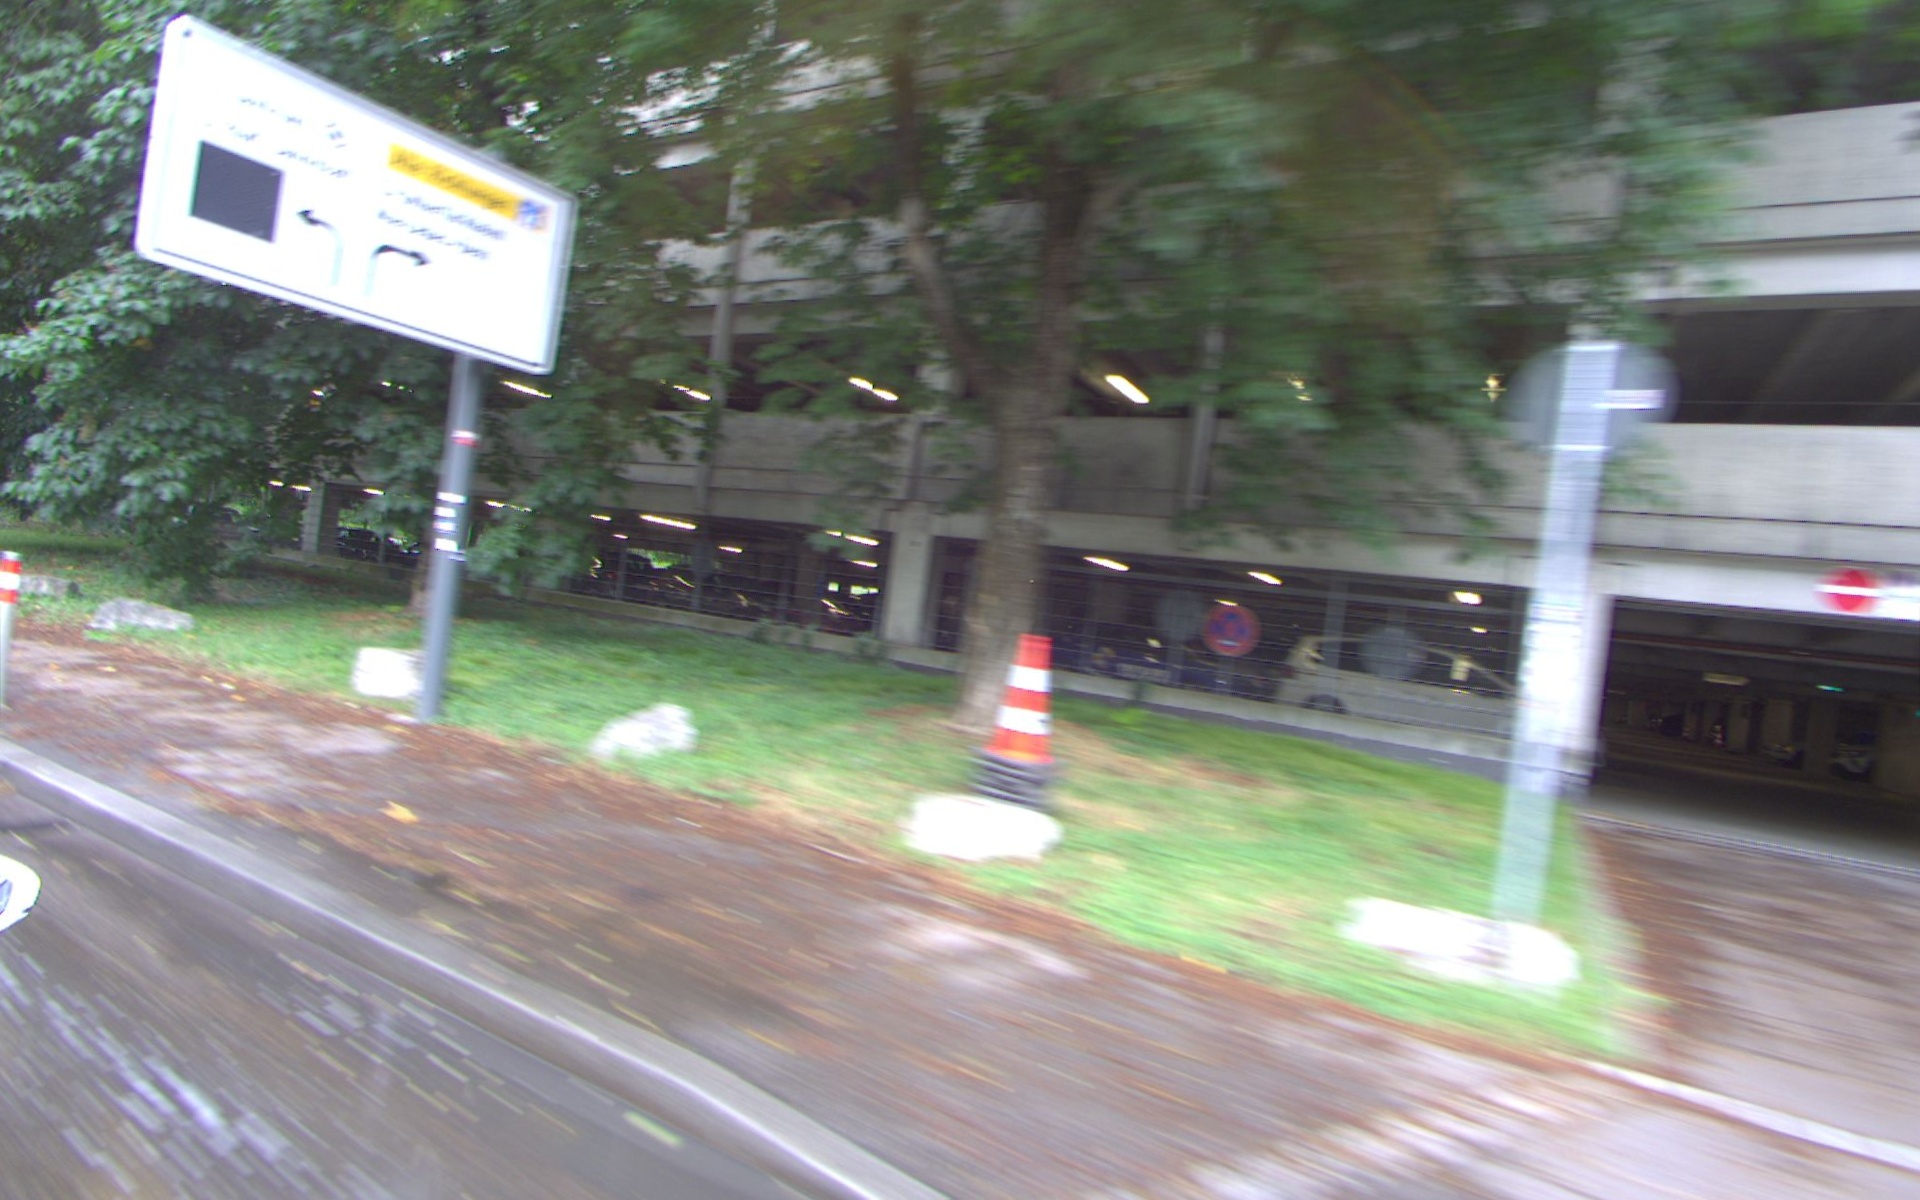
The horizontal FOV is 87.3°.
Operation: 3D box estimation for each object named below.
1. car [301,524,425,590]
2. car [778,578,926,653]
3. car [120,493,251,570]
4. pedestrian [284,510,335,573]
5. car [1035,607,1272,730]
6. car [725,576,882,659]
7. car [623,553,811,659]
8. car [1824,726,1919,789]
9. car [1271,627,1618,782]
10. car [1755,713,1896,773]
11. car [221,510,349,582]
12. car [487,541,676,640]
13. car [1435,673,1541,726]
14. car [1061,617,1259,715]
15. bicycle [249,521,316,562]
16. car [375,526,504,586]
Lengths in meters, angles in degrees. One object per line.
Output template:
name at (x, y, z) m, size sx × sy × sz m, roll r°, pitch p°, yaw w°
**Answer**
car at (-19.137, -1.380, 32.232) m, size 3.657 × 1.682 × 1.734 m, roll 6°, pitch -2°, yaw 30°
car at (-3.035, 0.424, 28.116) m, size 3.638 × 1.626 × 1.721 m, roll 6°, pitch -2°, yaw 29°
car at (-21.647, -1.922, 28.096) m, size 3.657 × 1.728 × 1.484 m, roll 6°, pitch -2°, yaw 30°
pedestrian at (-15.002, -1.347, 23.206) m, size 0.626 × 1.333 × 0.642 m, roll 6°, pitch -2°, yaw 29°
car at (3.510, 1.232, 18.388) m, size 3.792 × 1.728 × 1.589 m, roll 6°, pitch -2°, yaw 30°
car at (-4.119, 0.459, 26.444) m, size 3.638 × 1.699 × 1.721 m, roll 6°, pitch -2°, yaw 29°
car at (-5.863, 0.138, 24.227) m, size 3.933 × 2.037 × 1.998 m, roll 6°, pitch -2°, yaw 31°
car at (24.937, 4.215, 26.353) m, size 3.150 × 1.375 × 1.512 m, roll 6°, pitch -2°, yaw 29°
car at (7.497, 1.565, 15.865) m, size 4.589 × 1.728 × 1.589 m, roll 6°, pitch -2°, yaw 30°
car at (28.423, 4.672, 33.146) m, size 3.150 × 1.444 × 1.512 m, roll 6°, pitch -2°, yaw 29°
car at (-20.315, -1.640, 30.240) m, size 3.706 × 1.728 × 1.584 m, roll 6°, pitch -2°, yaw 30°
car at (-9.978, -0.267, 26.470) m, size 4.595 × 2.037 × 1.998 m, roll 6°, pitch -2°, yaw 30°
car at (18.680, 3.511, 35.690) m, size 3.150 × 1.444 × 1.512 m, roll 6°, pitch -2°, yaw 29°
car at (4.224, 1.389, 21.302) m, size 3.638 × 1.563 × 1.721 m, roll 6°, pitch -2°, yaw 29°
bicycle at (-15.383, -1.331, 22.840) m, size 1.468 × 0.745 × 0.448 m, roll 6°, pitch -2°, yaw 22°
car at (-17.905, -1.524, 34.602) m, size 3.932 × 1.570 × 1.998 m, roll 6°, pitch -2°, yaw 30°
